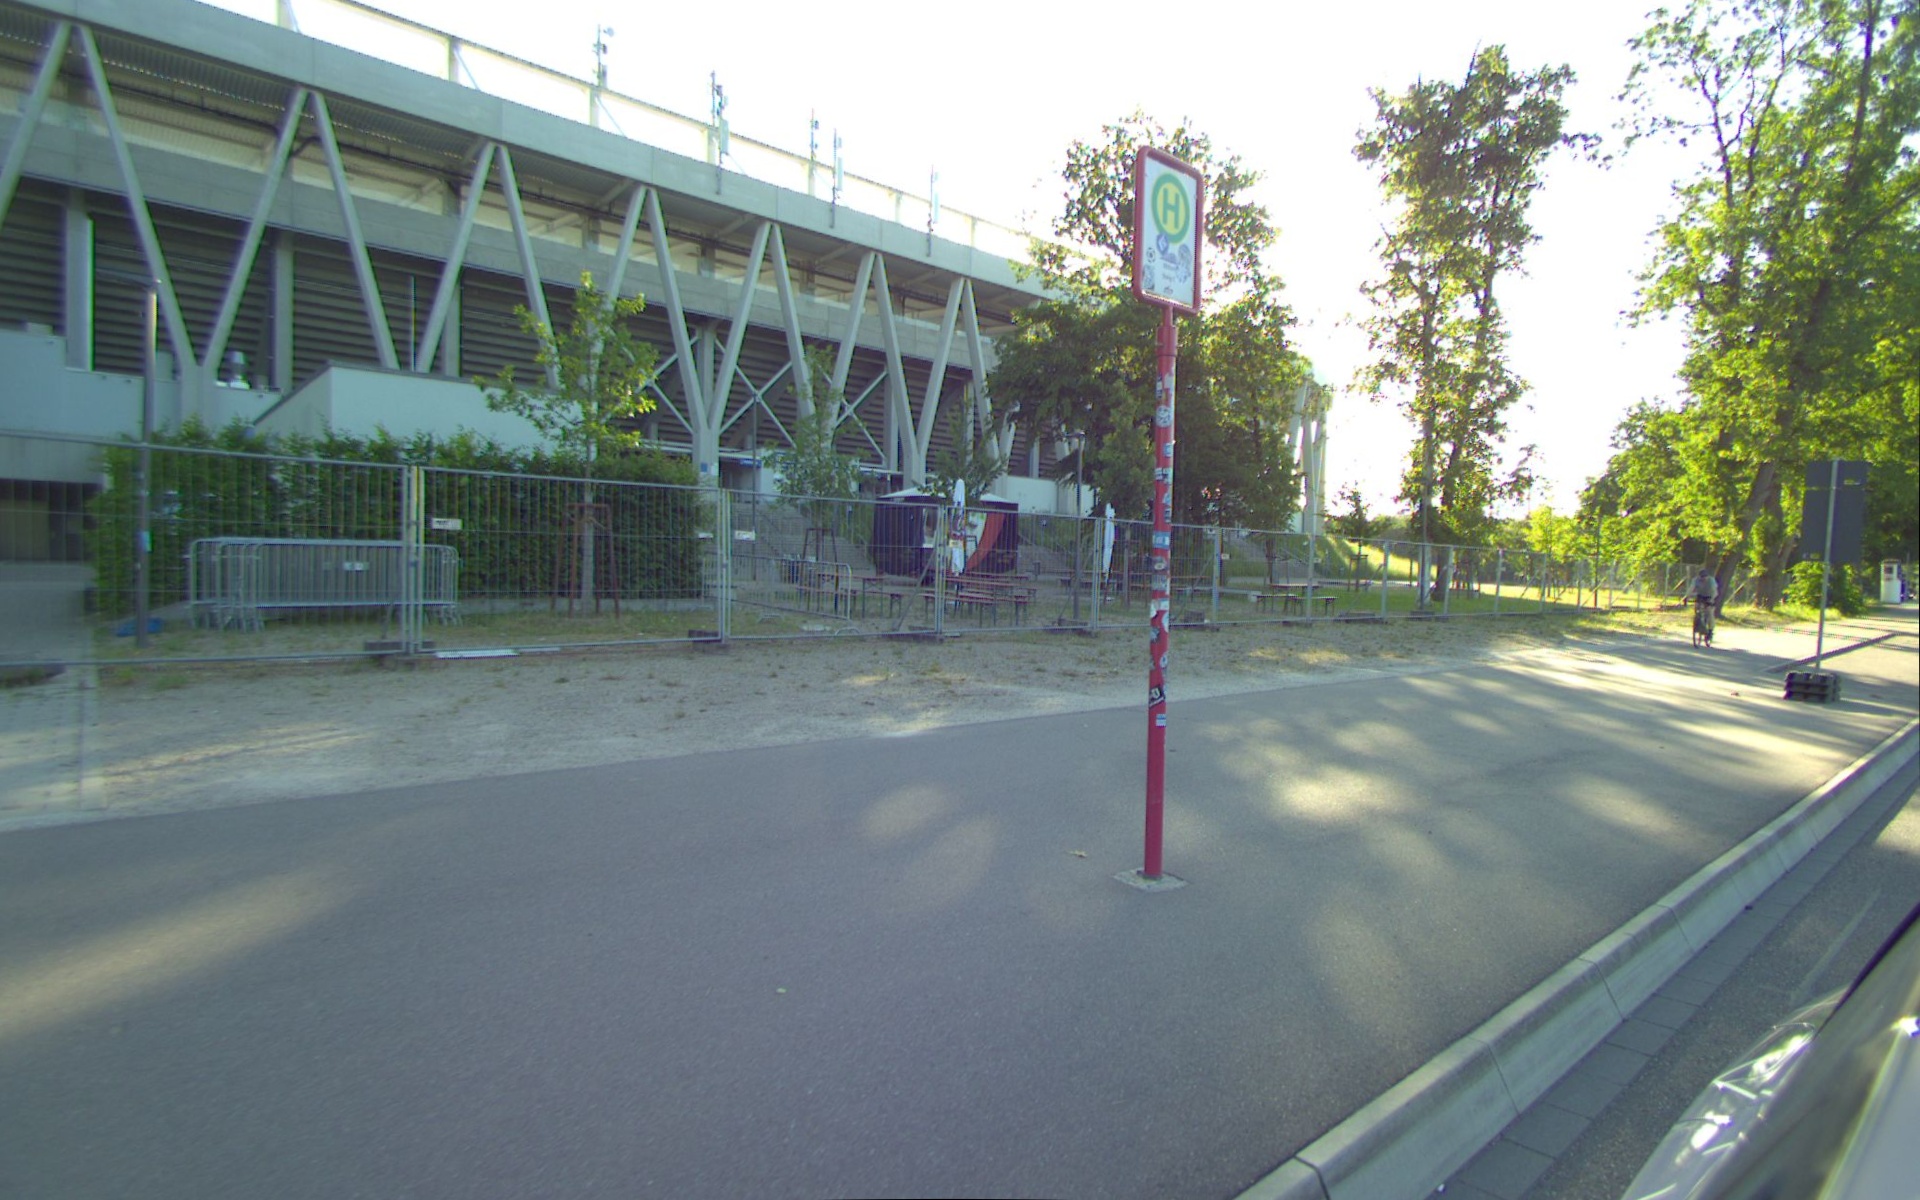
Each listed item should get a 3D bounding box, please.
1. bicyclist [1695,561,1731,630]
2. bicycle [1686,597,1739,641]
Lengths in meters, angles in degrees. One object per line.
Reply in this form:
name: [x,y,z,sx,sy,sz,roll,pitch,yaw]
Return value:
bicyclist: [15.847,-0.101,21.292,0.565,1.438,0.451,0,2,-40]
bicycle: [15.877,0.388,21.339,1.876,0.869,0.481,-1,2,-41]
